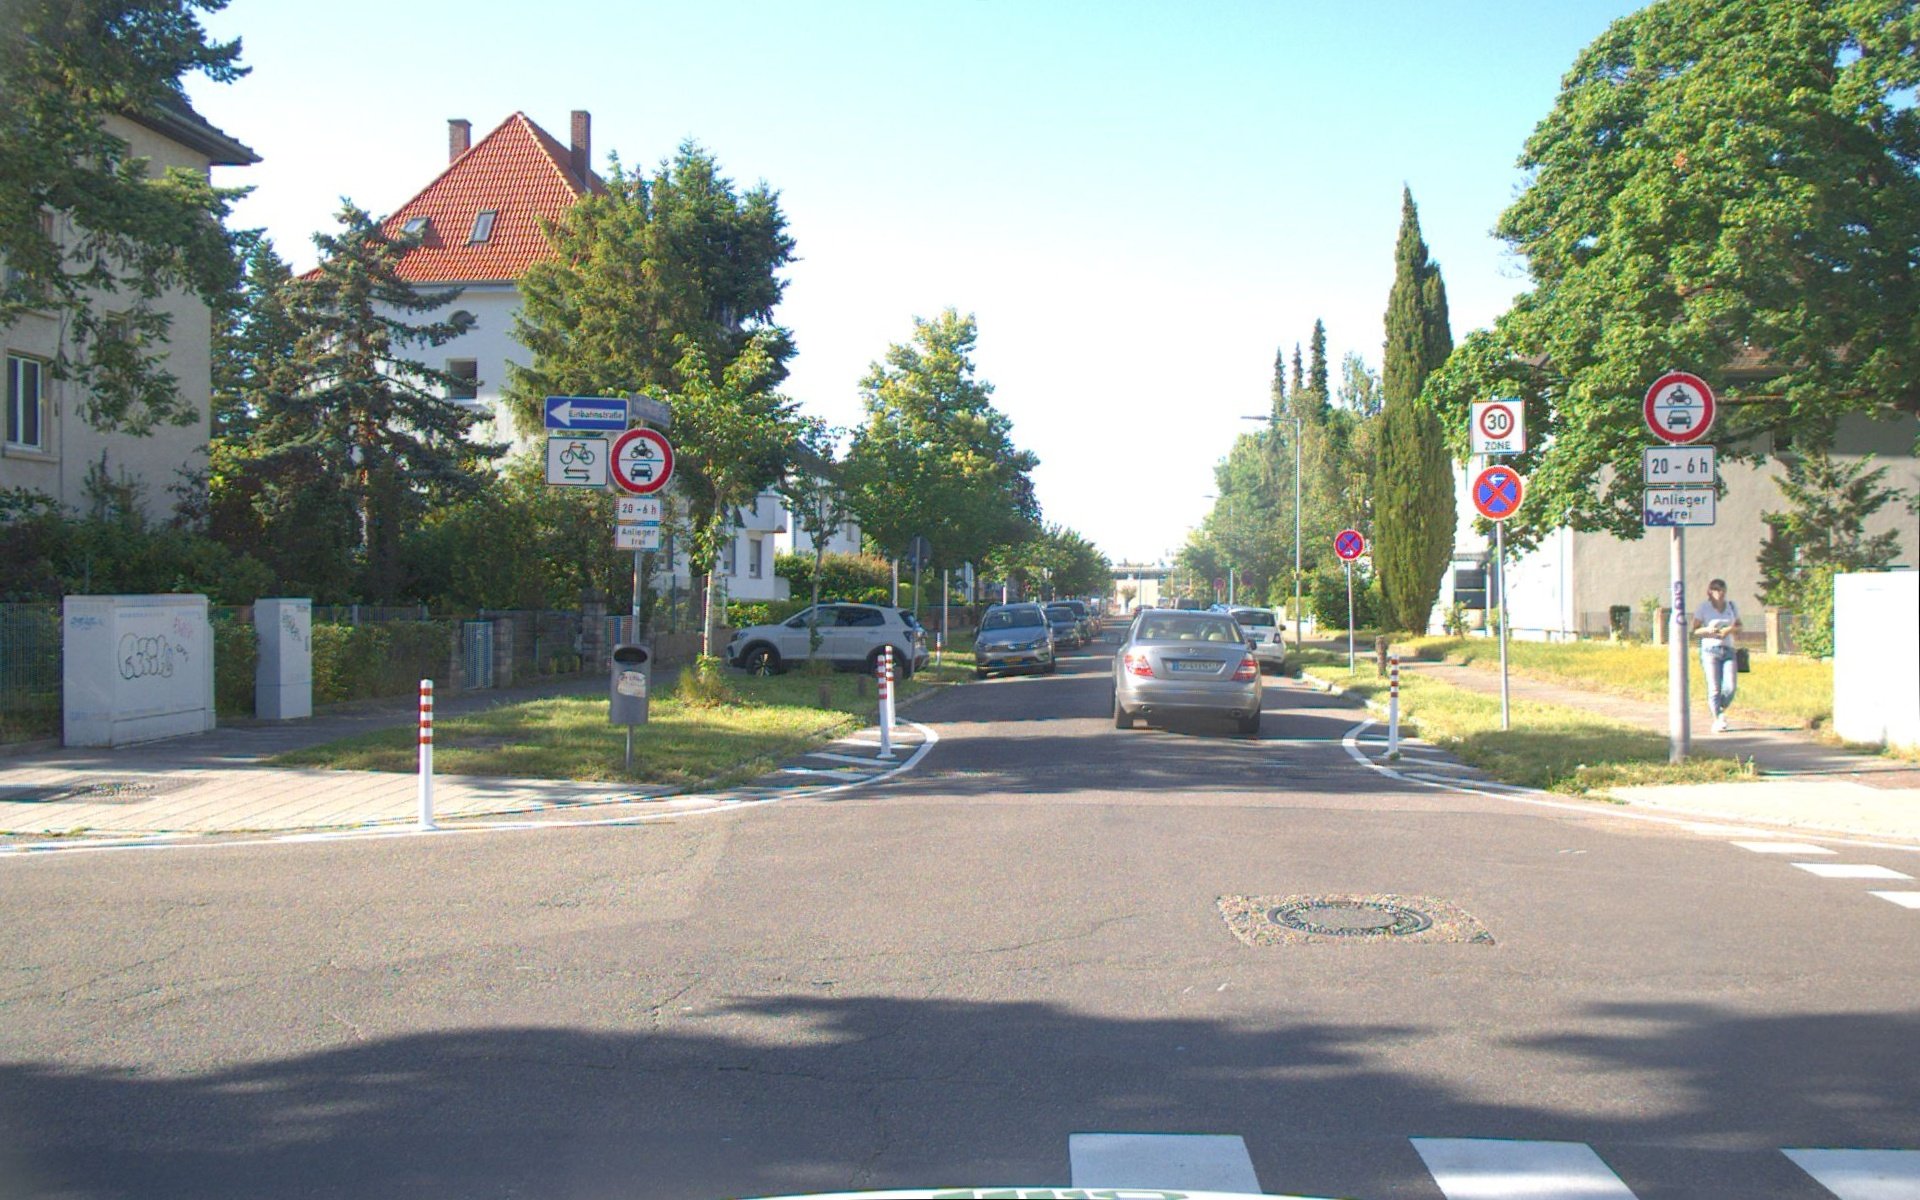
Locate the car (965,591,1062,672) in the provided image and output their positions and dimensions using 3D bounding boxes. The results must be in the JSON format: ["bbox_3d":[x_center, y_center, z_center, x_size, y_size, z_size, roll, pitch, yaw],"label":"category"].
[{"bbox_3d":[1.278,0.672,37.817,1.952,1.637,4.002,-4,0,4],"label":"car"}]

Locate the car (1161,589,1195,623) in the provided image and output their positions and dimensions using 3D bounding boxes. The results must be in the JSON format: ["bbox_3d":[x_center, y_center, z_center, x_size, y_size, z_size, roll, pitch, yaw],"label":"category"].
[{"bbox_3d":[12.506,0.326,95.099,1.815,1.873,4.003,-1,0,5],"label":"car"}]

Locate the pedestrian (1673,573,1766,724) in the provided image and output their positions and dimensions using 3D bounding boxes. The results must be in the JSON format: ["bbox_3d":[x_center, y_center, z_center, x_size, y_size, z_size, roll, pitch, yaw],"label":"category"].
[{"bbox_3d":[8.442,0.527,18.411,0.749,1.639,0.835,-1,0,11],"label":"pedestrian"}]

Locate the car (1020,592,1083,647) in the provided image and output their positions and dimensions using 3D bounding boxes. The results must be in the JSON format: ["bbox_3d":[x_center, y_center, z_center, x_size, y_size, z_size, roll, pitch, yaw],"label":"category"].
[{"bbox_3d":[3.109,0.632,55.546,1.952,1.637,4.002,-4,0,4],"label":"car"}]

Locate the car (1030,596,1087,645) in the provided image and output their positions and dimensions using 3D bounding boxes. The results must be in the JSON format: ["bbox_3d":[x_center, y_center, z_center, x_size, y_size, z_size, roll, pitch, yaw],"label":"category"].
[{"bbox_3d":[3.660,0.738,61.317,1.952,1.637,4.002,-4,0,4],"label":"car"}]

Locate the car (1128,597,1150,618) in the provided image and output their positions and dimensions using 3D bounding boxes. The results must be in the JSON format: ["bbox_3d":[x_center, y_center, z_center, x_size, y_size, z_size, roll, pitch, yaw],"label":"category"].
[{"bbox_3d":[14.236,0.585,131.606,1.563,1.638,3.646,-1,0,4],"label":"car"}]

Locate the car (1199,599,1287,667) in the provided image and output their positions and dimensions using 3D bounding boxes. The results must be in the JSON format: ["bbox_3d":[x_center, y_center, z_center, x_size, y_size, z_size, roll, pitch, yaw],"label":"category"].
[{"bbox_3d":[6.714,0.756,39.581,1.697,1.505,3.727,-1,0,4],"label":"car"}]

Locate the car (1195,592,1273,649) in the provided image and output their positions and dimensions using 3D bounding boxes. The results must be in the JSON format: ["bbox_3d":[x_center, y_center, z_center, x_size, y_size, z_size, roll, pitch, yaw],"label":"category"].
[{"bbox_3d":[8.290,0.587,50.311,1.951,1.638,4.002,-1,0,4],"label":"car"}]

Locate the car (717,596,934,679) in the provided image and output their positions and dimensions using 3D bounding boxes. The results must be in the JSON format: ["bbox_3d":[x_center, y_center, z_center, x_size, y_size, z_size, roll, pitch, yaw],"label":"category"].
[{"bbox_3d":[-2.650,0.728,33.138,4.104,1.591,1.843,0,0,3],"label":"car"}]

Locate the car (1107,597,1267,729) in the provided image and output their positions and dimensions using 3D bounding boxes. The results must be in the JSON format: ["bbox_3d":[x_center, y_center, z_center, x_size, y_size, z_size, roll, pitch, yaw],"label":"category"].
[{"bbox_3d":[2.816,0.710,20.738,1.797,1.466,4.003,0,0,7],"label":"car"}]
